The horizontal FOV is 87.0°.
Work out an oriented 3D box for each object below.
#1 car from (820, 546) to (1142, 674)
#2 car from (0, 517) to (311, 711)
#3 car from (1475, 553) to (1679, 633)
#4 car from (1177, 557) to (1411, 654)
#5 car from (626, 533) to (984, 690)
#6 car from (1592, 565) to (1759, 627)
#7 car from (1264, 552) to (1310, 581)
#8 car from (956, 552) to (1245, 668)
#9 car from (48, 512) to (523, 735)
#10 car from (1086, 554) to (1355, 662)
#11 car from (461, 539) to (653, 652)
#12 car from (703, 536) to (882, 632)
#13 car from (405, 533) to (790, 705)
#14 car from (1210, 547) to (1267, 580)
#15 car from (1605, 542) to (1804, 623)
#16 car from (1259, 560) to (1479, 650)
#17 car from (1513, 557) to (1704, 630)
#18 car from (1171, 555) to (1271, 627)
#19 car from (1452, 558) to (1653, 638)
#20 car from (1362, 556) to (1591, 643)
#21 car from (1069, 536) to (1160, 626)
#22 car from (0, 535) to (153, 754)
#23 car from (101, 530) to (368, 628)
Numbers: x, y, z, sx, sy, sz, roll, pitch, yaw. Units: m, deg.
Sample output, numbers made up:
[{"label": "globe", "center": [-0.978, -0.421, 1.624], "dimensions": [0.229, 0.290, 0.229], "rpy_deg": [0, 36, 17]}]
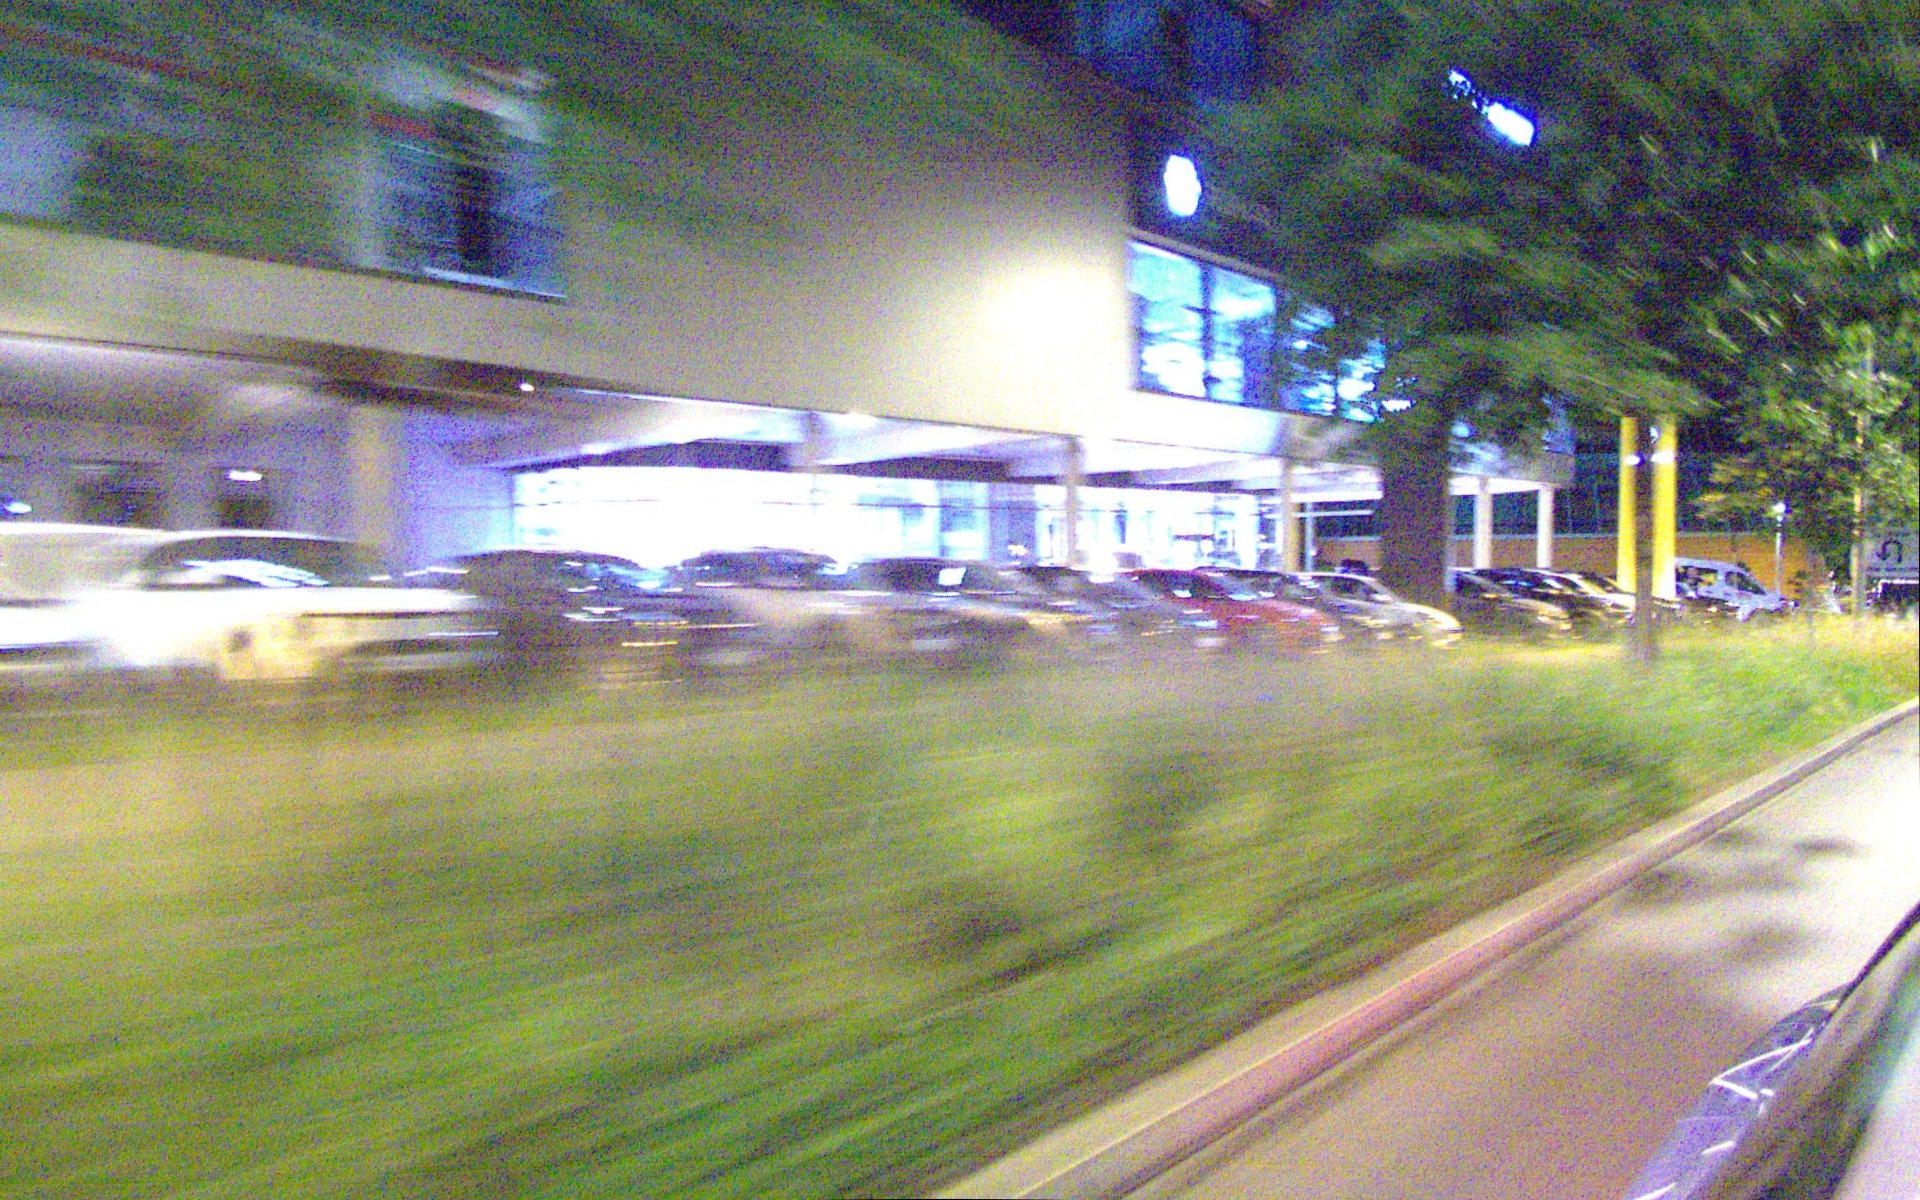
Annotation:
[{"label": "car", "center": [0.256, 0.066, 13.739], "dimensions": [3.965, 1.409, 1.808], "rpy_deg": [3, 1, 29]}, {"label": "car", "center": [-9.498, 0.011, 11.303], "dimensions": [1.563, 1.817, 3.862], "rpy_deg": [0, 4, 9]}, {"label": "car", "center": [16.915, -0.249, 27.851], "dimensions": [4.458, 1.707, 1.971], "rpy_deg": [8, 5, 40]}, {"label": "car", "center": [6.218, 0.031, 18.995], "dimensions": [3.761, 1.395, 1.694], "rpy_deg": [7, 5, 37]}, {"label": "car", "center": [-1.891, 0.030, 12.040], "dimensions": [3.969, 1.488, 1.813], "rpy_deg": [4, 3, 31]}, {"label": "car", "center": [22.994, -0.175, 32.606], "dimensions": [4.199, 1.683, 1.933], "rpy_deg": [5, 4, 40]}, {"label": "car", "center": [16.970, -1.735, 52.422], "dimensions": [1.642, 1.352, 3.842], "rpy_deg": [3, 3, 27]}, {"label": "car", "center": [2.046, 0.067, 15.391], "dimensions": [3.984, 1.397, 1.783], "rpy_deg": [5, 3, 40]}, {"label": "car", "center": [-5.684, 0.106, 8.421], "dimensions": [3.971, 1.442, 1.887], "rpy_deg": [2, 1, 33]}, {"label": "car", "center": [4.382, 0.051, 17.241], "dimensions": [4.012, 1.390, 1.803], "rpy_deg": [6, 4, 35]}, {"label": "car", "center": [-5.912, -0.087, 15.174], "dimensions": [1.299, 1.505, 3.065], "rpy_deg": [1, 1, 9]}, {"label": "car", "center": [-2.801, -0.294, 17.743], "dimensions": [1.604, 1.482, 3.775], "rpy_deg": [1, 1, 17]}, {"label": "car", "center": [-3.639, 0.128, 10.133], "dimensions": [3.578, 1.451, 1.664], "rpy_deg": [1, 1, 27]}, {"label": "car", "center": [14.886, -1.954, 53.899], "dimensions": [1.981, 1.682, 4.624], "rpy_deg": [1, 2, 28]}, {"label": "car", "center": [29.261, -0.763, 40.133], "dimensions": [6.000, 2.559, 2.256], "rpy_deg": [8, 5, 34]}, {"label": "car", "center": [8.267, 0.041, 20.573], "dimensions": [3.794, 1.470, 1.695], "rpy_deg": [5, 4, 37]}, {"label": "car", "center": [19.000, -0.242, 29.753], "dimensions": [4.456, 1.832, 1.971], "rpy_deg": [5, 3, 40]}, {"label": "car", "center": [6.261, -0.287, 24.723], "dimensions": [1.960, 1.548, 3.990], "rpy_deg": [2, 2, 10]}, {"label": "car", "center": [14.971, -0.102, 25.675], "dimensions": [4.078, 1.587, 1.828], "rpy_deg": [7, 5, 40]}, {"label": "car", "center": [12.157, -0.100, 24.016], "dimensions": [4.460, 1.565, 1.744], "rpy_deg": [8, 7, 41]}, {"label": "car", "center": [3.809, -0.466, 24.366], "dimensions": [1.808, 1.942, 4.809], "rpy_deg": [0, 1, 13]}, {"label": "car", "center": [-7.737, 0.206, 6.740], "dimensions": [4.597, 1.280, 1.930], "rpy_deg": [1, 1, 26]}, {"label": "car", "center": [-13.319, -0.381, 18.639], "dimensions": [4.257, 1.675, 1.651], "rpy_deg": [0, 1, 14]}]
